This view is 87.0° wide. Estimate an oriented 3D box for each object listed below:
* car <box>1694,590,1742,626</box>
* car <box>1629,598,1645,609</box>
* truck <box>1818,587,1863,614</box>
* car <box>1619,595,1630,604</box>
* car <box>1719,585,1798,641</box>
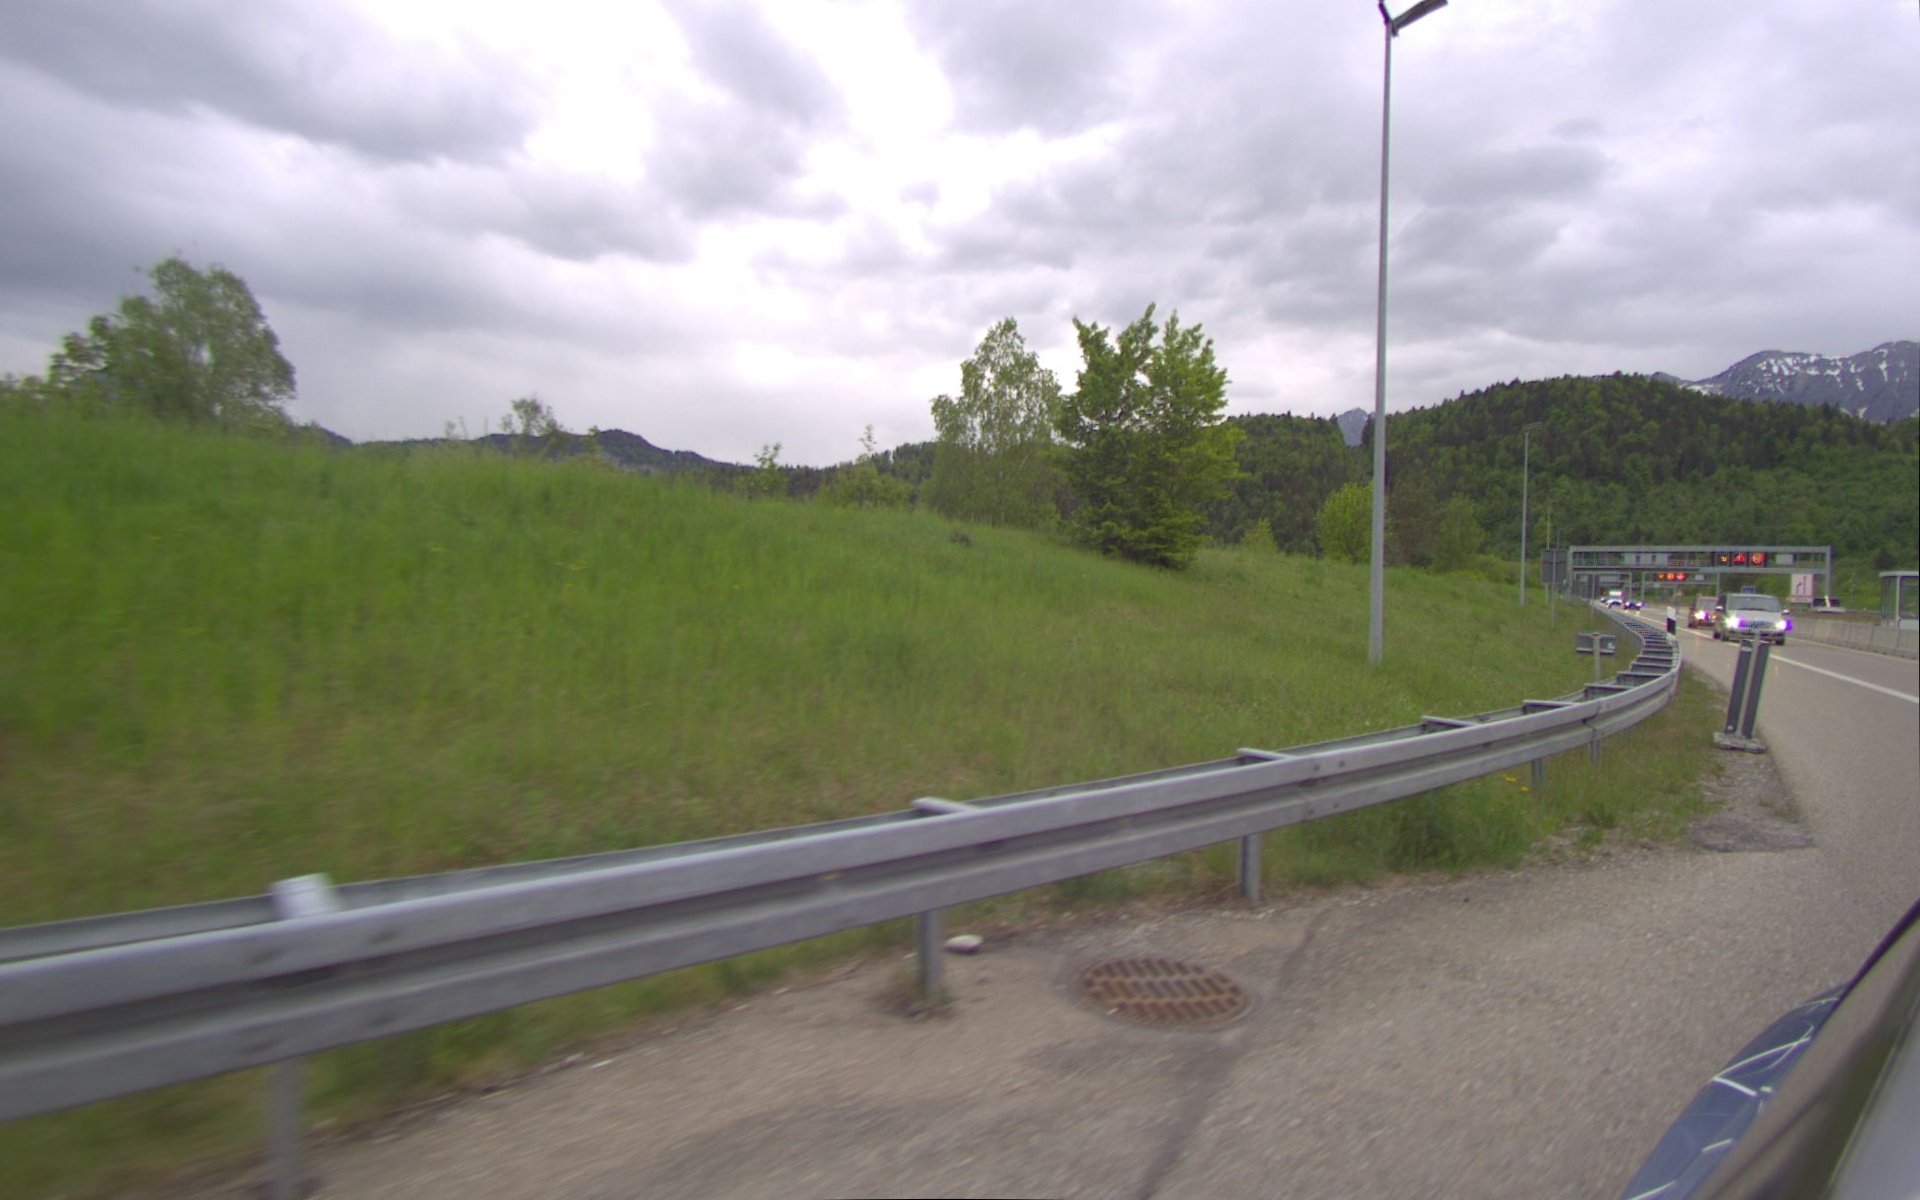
[{"bbox_3d":[41.959,0.401,56.083,1.745,1.827,3.953,4,2,32],"label":"car"},{"bbox_3d":[95.217,0.443,142.433,1.653,1.353,3.749,4,2,32],"label":"car"},{"bbox_3d":[87.165,0.003,100.283,2.346,2.510,5.921,2,2,31],"label":"truck"},{"bbox_3d":[136.507,-0.176,207.996,1.622,1.718,3.451,4,2,36],"label":"car"},{"bbox_3d":[30.661,0.426,38.974,1.912,1.904,5.076,4,3,34],"label":"car"}]
